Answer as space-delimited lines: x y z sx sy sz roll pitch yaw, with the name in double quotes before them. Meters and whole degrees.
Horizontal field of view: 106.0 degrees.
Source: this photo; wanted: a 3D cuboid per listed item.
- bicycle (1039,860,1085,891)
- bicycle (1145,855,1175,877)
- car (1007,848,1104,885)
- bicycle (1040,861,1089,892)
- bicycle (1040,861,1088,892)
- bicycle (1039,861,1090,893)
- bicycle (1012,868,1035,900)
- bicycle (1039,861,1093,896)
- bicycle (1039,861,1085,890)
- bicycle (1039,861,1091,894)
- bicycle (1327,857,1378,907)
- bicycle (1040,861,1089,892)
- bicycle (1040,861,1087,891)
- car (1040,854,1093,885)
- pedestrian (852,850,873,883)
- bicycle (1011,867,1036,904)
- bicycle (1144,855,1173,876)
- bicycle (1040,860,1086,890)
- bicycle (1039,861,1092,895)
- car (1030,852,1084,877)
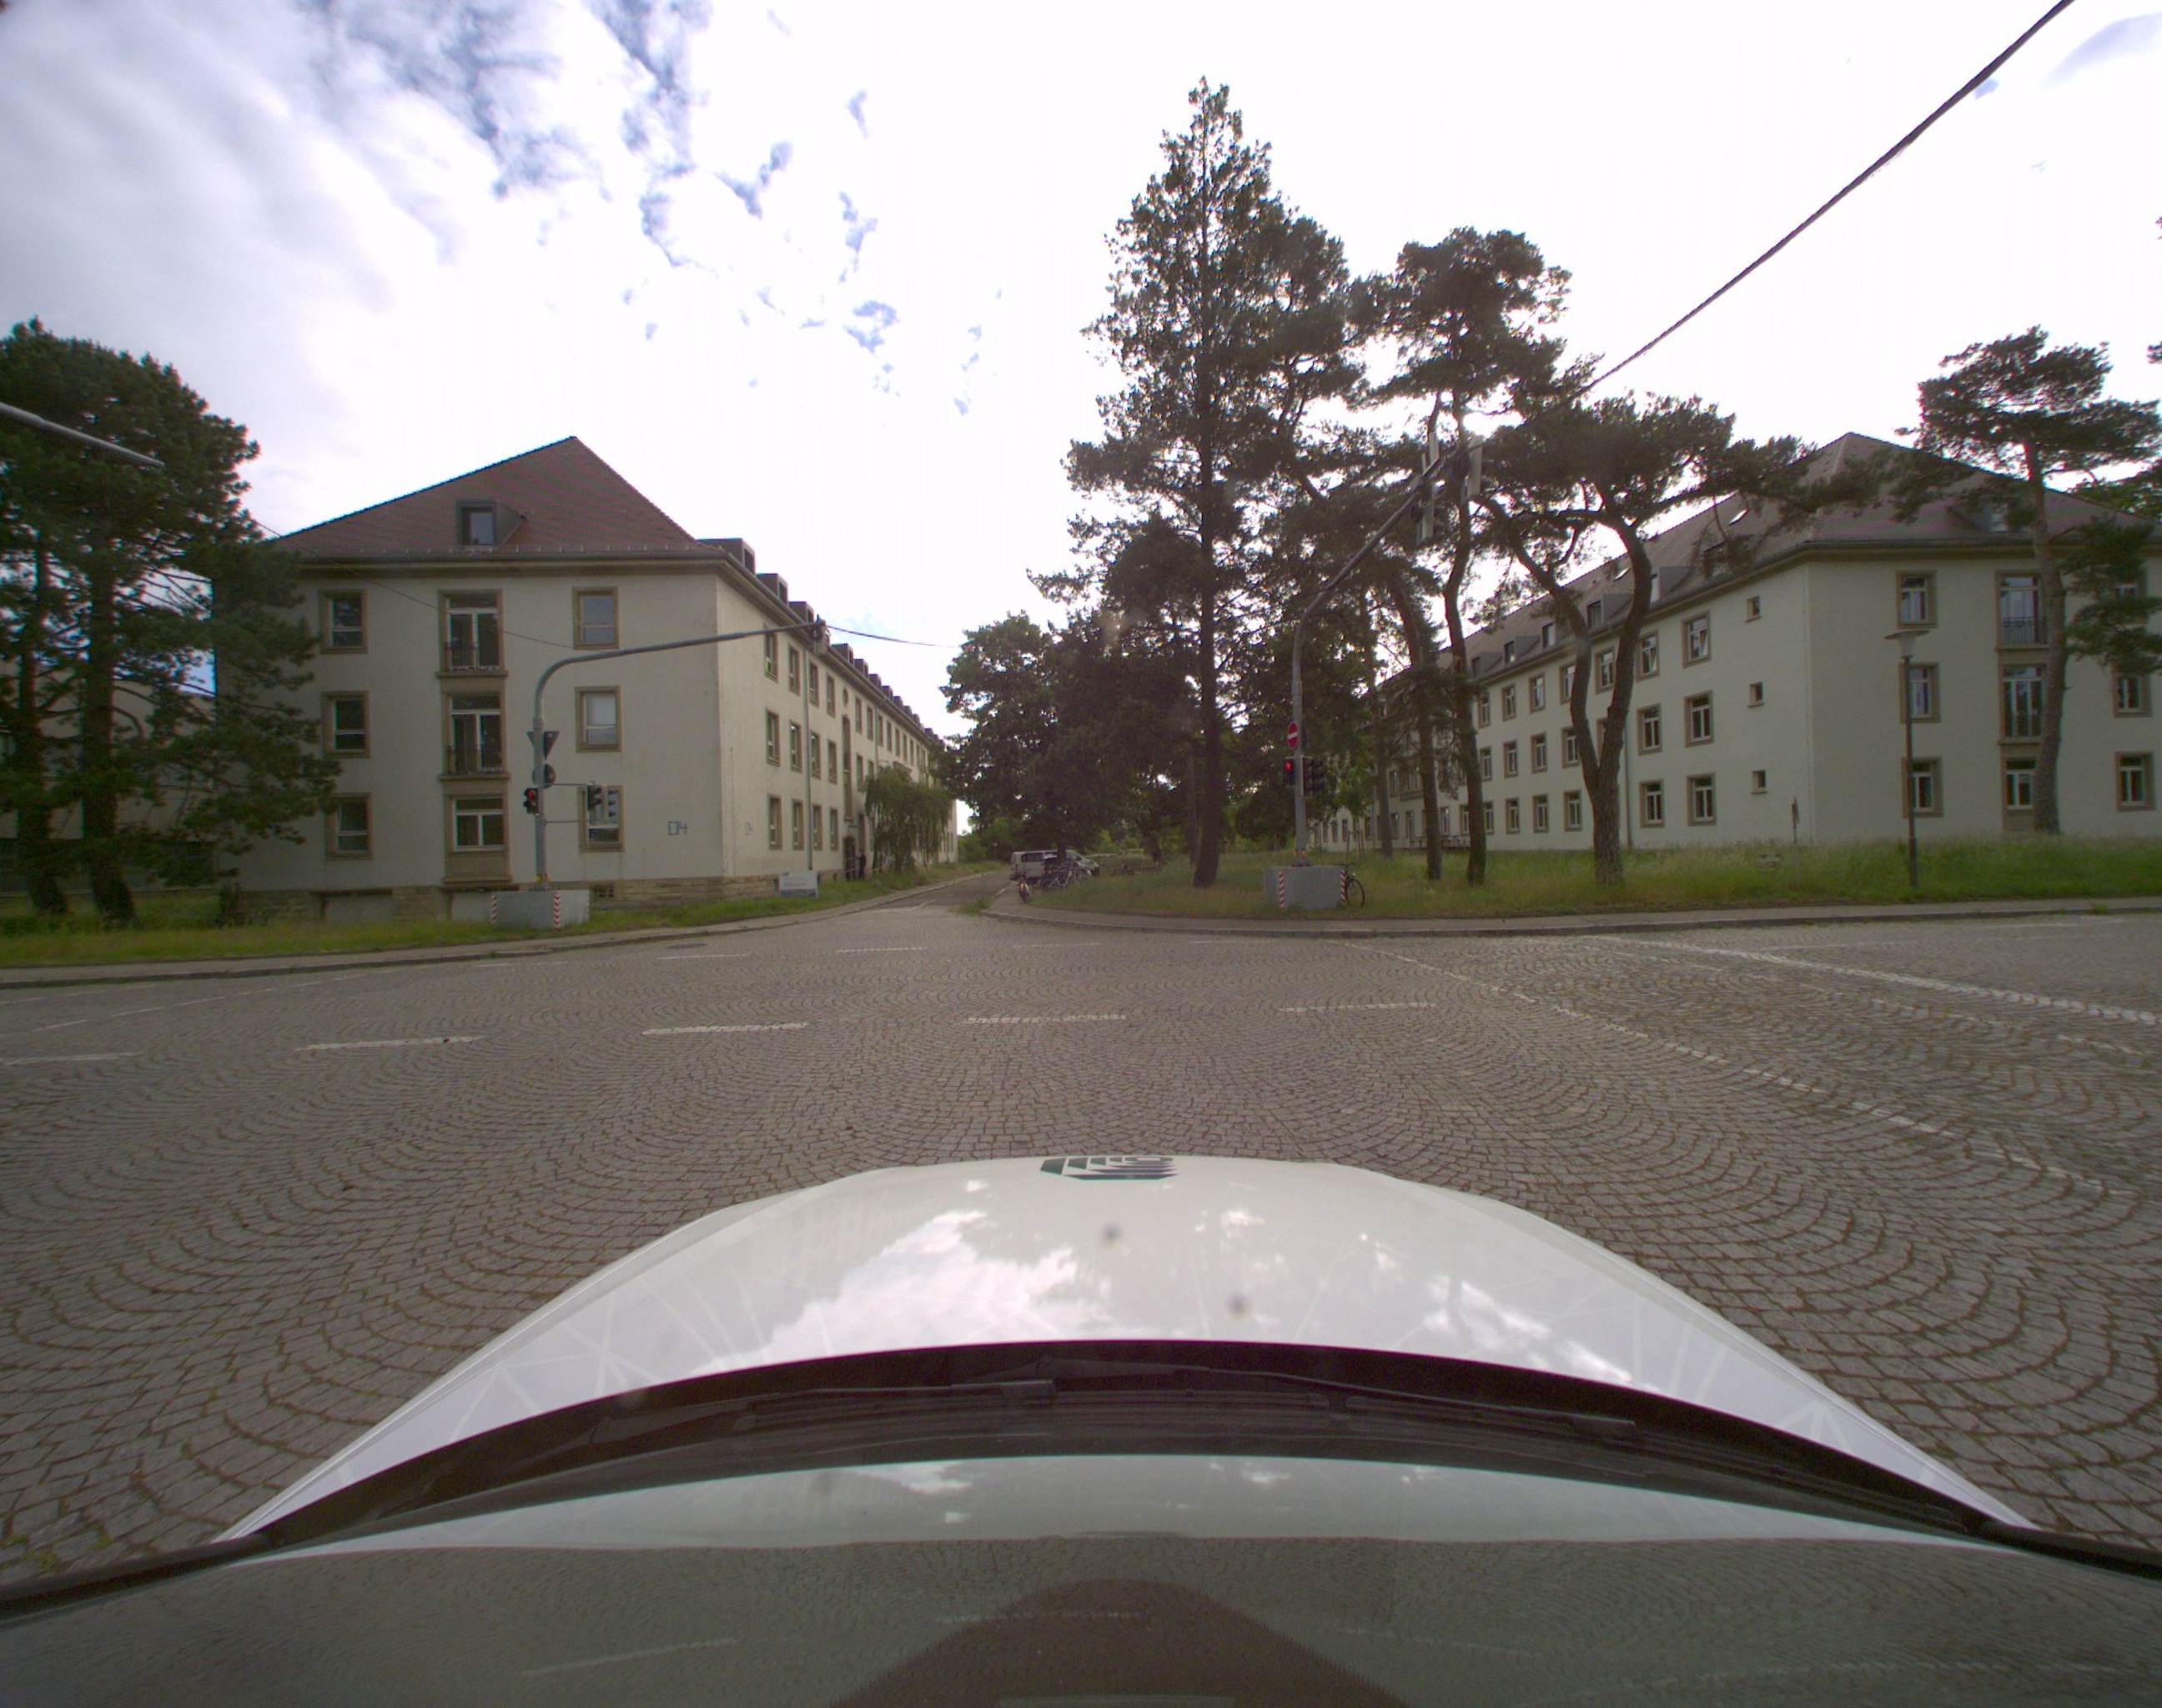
"bicycle" -0.853 0.941 36.471 1.978 1.248 0.623 -3 -1 -4
"bicycle" 4.253 0.626 43.918 1.544 1.124 0.401 -2 0 -1
"car" -1.536 0.696 48.230 5.316 1.916 2.138 -2 0 -17
"bicycle" -0.690 0.919 33.733 1.978 1.248 0.623 -1 -1 -4
"bicycle" -0.737 0.922 34.145 1.978 1.248 0.623 -1 -1 -4
"bicycle" -0.667 0.910 32.575 1.978 1.248 0.623 -1 -1 -4
"bicycle" -2.010 1.046 28.685 0.620 1.082 1.678 -1 -1 2
"bicycle" -0.559 0.890 30.165 1.978 1.248 0.623 -1 -1 -4
"bicycle" -0.827 0.936 35.813 1.978 1.248 0.623 -1 -1 -4
"bicycle" -0.633 0.903 31.717 1.978 1.248 0.623 -1 -1 -4
"bicycle" 5.979 0.598 18.000 0.578 0.970 1.679 -4 2 2
"bicycle" -0.686 0.915 33.207 1.978 1.248 0.623 -1 -1 -4
"bicycle" -0.749 0.927 34.809 1.978 1.248 0.623 -1 -1 -4
"car" -0.797 0.839 44.782 2.841 1.558 1.471 -2 1 -3
"pedestrian" -12.249 0.705 45.624 0.833 1.781 0.942 -2 0 3
"bicycle" -1.868 1.014 26.737 0.620 1.113 1.989 -1 -1 1
"bicycle" 4.283 0.632 45.150 1.544 1.124 0.401 -2 0 -1
"bicycle" -0.792 0.900 35.321 1.978 1.248 0.623 -1 -1 -4
"bicycle" -0.583 0.895 30.793 1.978 1.248 0.623 -1 -1 -4
"car" -1.811 0.776 62.108 4.023 1.718 1.679 -2 -1 -3
